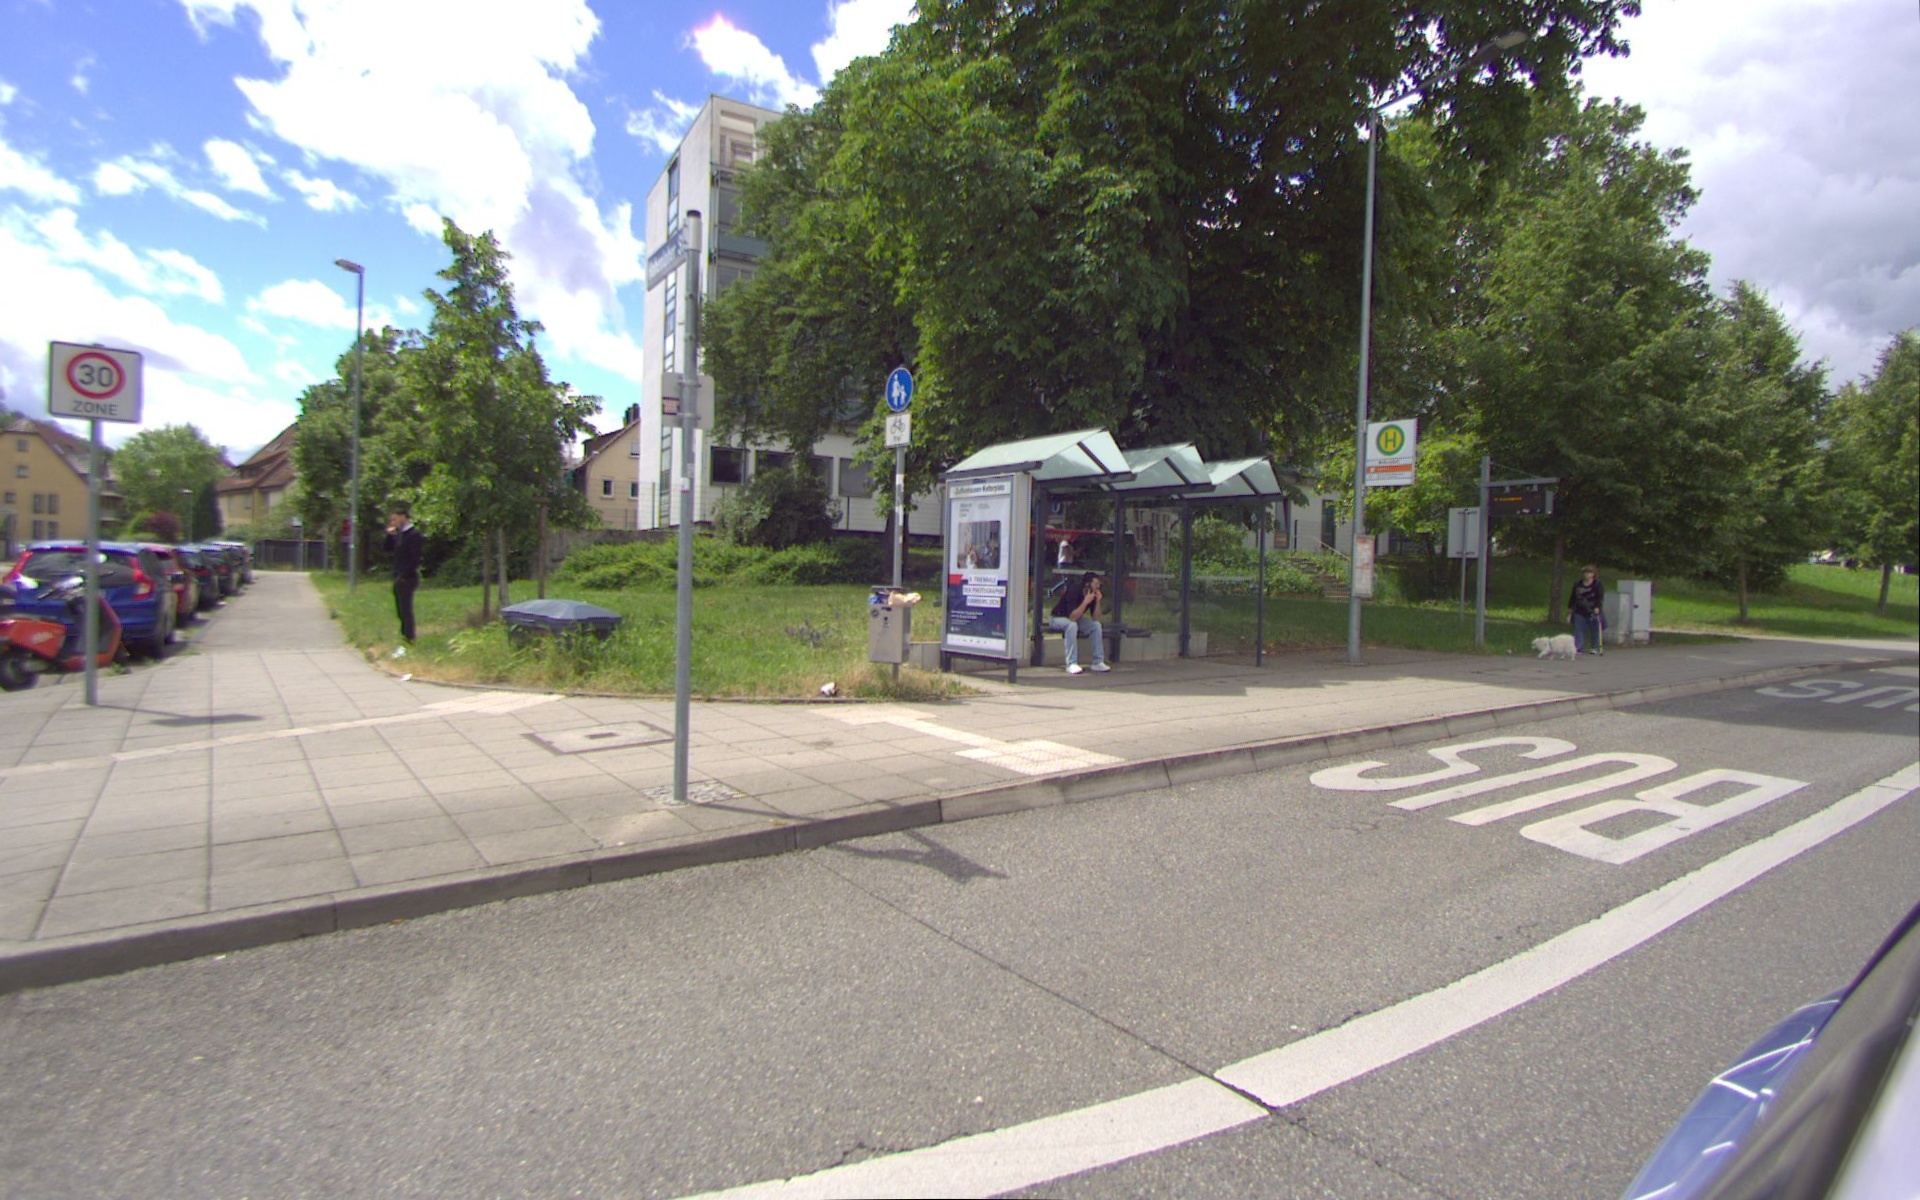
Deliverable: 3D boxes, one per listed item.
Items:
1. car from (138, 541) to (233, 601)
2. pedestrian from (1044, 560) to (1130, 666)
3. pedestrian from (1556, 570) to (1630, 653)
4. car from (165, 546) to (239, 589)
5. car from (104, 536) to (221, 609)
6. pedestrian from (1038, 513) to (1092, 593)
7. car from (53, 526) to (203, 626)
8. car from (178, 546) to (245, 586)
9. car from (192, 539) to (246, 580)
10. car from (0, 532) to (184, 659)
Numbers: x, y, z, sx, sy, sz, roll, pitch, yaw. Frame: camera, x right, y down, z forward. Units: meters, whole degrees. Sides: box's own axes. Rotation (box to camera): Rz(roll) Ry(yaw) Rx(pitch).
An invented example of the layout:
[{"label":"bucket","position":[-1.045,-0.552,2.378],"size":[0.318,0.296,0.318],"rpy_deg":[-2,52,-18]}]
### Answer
[{"label":"car","position":[-21.820,-0.838,28.638],"size":[1.962,1.578,4.093],"rpy_deg":[0,2,-35]},{"label":"pedestrian","position":[1.578,0.143,12.637],"size":[0.672,1.274,0.831],"rpy_deg":[0,2,-29]},{"label":"pedestrian","position":[11.344,0.181,18.138],"size":[0.813,1.442,0.823],"rpy_deg":[-1,2,-32]},{"label":"car","position":[-24.718,-1.081,33.086],"size":[1.834,1.302,4.000],"rpy_deg":[0,2,-36]},{"label":"car","position":[-18.738,-0.678,23.944],"size":[1.962,1.578,4.093],"rpy_deg":[0,2,-35]},{"label":"pedestrian","position":[2.399,-1.061,23.135],"size":[0.840,1.782,0.991],"rpy_deg":[0,2,-22]},{"label":"car","position":[-15.470,-0.450,19.003],"size":[1.794,1.664,3.700],"rpy_deg":[2,1,-34]},{"label":"car","position":[-27.928,-1.267,37.857],"size":[1.813,1.382,4.001],"rpy_deg":[2,1,-34]},{"label":"car","position":[-31.359,-1.729,42.898],"size":[1.758,1.610,4.001],"rpy_deg":[0,3,-35]},{"label":"car","position":[-12.056,-0.134,13.992],"size":[1.860,1.474,3.808],"rpy_deg":[2,3,-34]}]
